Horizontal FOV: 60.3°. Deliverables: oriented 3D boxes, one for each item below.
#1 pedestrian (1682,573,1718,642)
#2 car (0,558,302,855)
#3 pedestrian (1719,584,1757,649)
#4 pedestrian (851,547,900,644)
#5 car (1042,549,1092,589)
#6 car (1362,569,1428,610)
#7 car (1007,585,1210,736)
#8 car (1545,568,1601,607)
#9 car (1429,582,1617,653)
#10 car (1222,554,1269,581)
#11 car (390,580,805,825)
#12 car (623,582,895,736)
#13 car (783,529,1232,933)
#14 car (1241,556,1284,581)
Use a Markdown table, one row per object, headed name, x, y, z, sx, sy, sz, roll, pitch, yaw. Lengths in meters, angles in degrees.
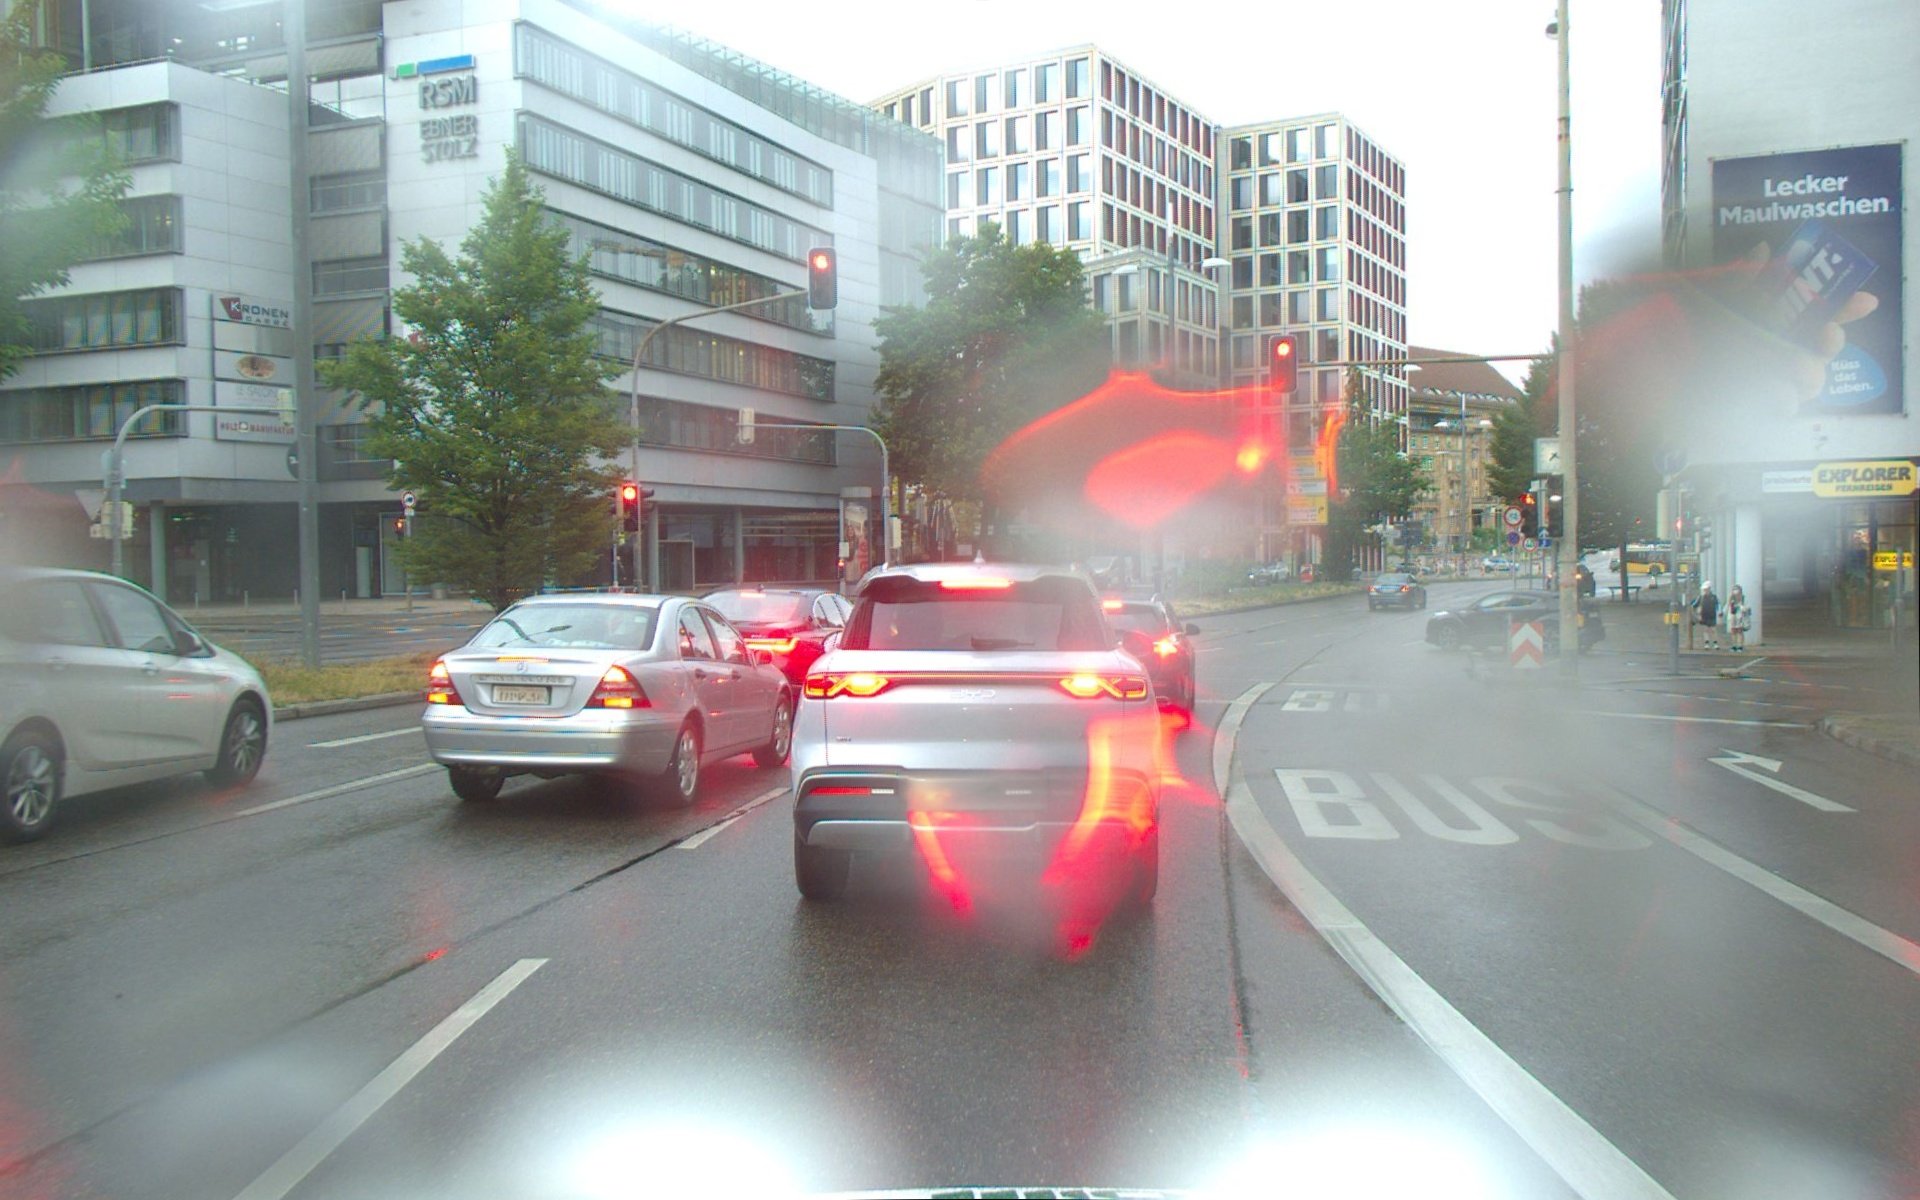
| name | x | y | z | sx | sy | sz | roll | pitch | yaw |
| --- | --- | --- | --- | --- | --- | --- | --- | --- | --- |
| pedestrian | 18.179 | 0.185 | 40.636 | 0.712 | 1.698 | 0.691 | 0 | 0 | 16 |
| car | -6.010 | 0.553 | 10.645 | 1.746 | 1.601 | 4.289 | 0 | 1 | 1 |
| pedestrian | 18.758 | 0.396 | 39.896 | 0.712 | 1.551 | 0.760 | 0 | 0 | 16 |
| pedestrian | -1.582 | -0.088 | 30.834 | 0.903 | 1.768 | 0.729 | 0 | 0 | -4 |
| car | 6.120 | -1.740 | 93.873 | 1.701 | 2.199 | 4.495 | 1 | 1 | 18 |
| car | 17.598 | -0.441 | 66.818 | 1.872 | 1.536 | 4.354 | 1 | 1 | 24 |
| car | 1.848 | 0.613 | 19.349 | 1.913 | 1.556 | 4.004 | 0 | 1 | 12 |
| car | 29.769 | -0.627 | 80.276 | 2.007 | 1.796 | 4.351 | 2 | 1 | 27 |
| car | 13.618 | 0.386 | 40.080 | 3.919 | 1.579 | 1.993 | 2 | 1 | 35 |
| car | 19.303 | -2.194 | 111.692 | 1.956 | 1.735 | 3.994 | 1 | 3 | 29 |
| car | -2.491 | 0.611 | 12.475 | 1.646 | 1.512 | 4.200 | 0 | 1 | 9 |
| car | -2.152 | 0.574 | 18.892 | 1.913 | 1.556 | 4.004 | 0 | 1 | 12 |
| car | 0.112 | 0.534 | 9.429 | 1.954 | 1.739 | 4.480 | 0 | 1 | -3 |
| car | 22.472 | -2.352 | 122.817 | 1.955 | 1.735 | 4.304 | 1 | 3 | 28 |
